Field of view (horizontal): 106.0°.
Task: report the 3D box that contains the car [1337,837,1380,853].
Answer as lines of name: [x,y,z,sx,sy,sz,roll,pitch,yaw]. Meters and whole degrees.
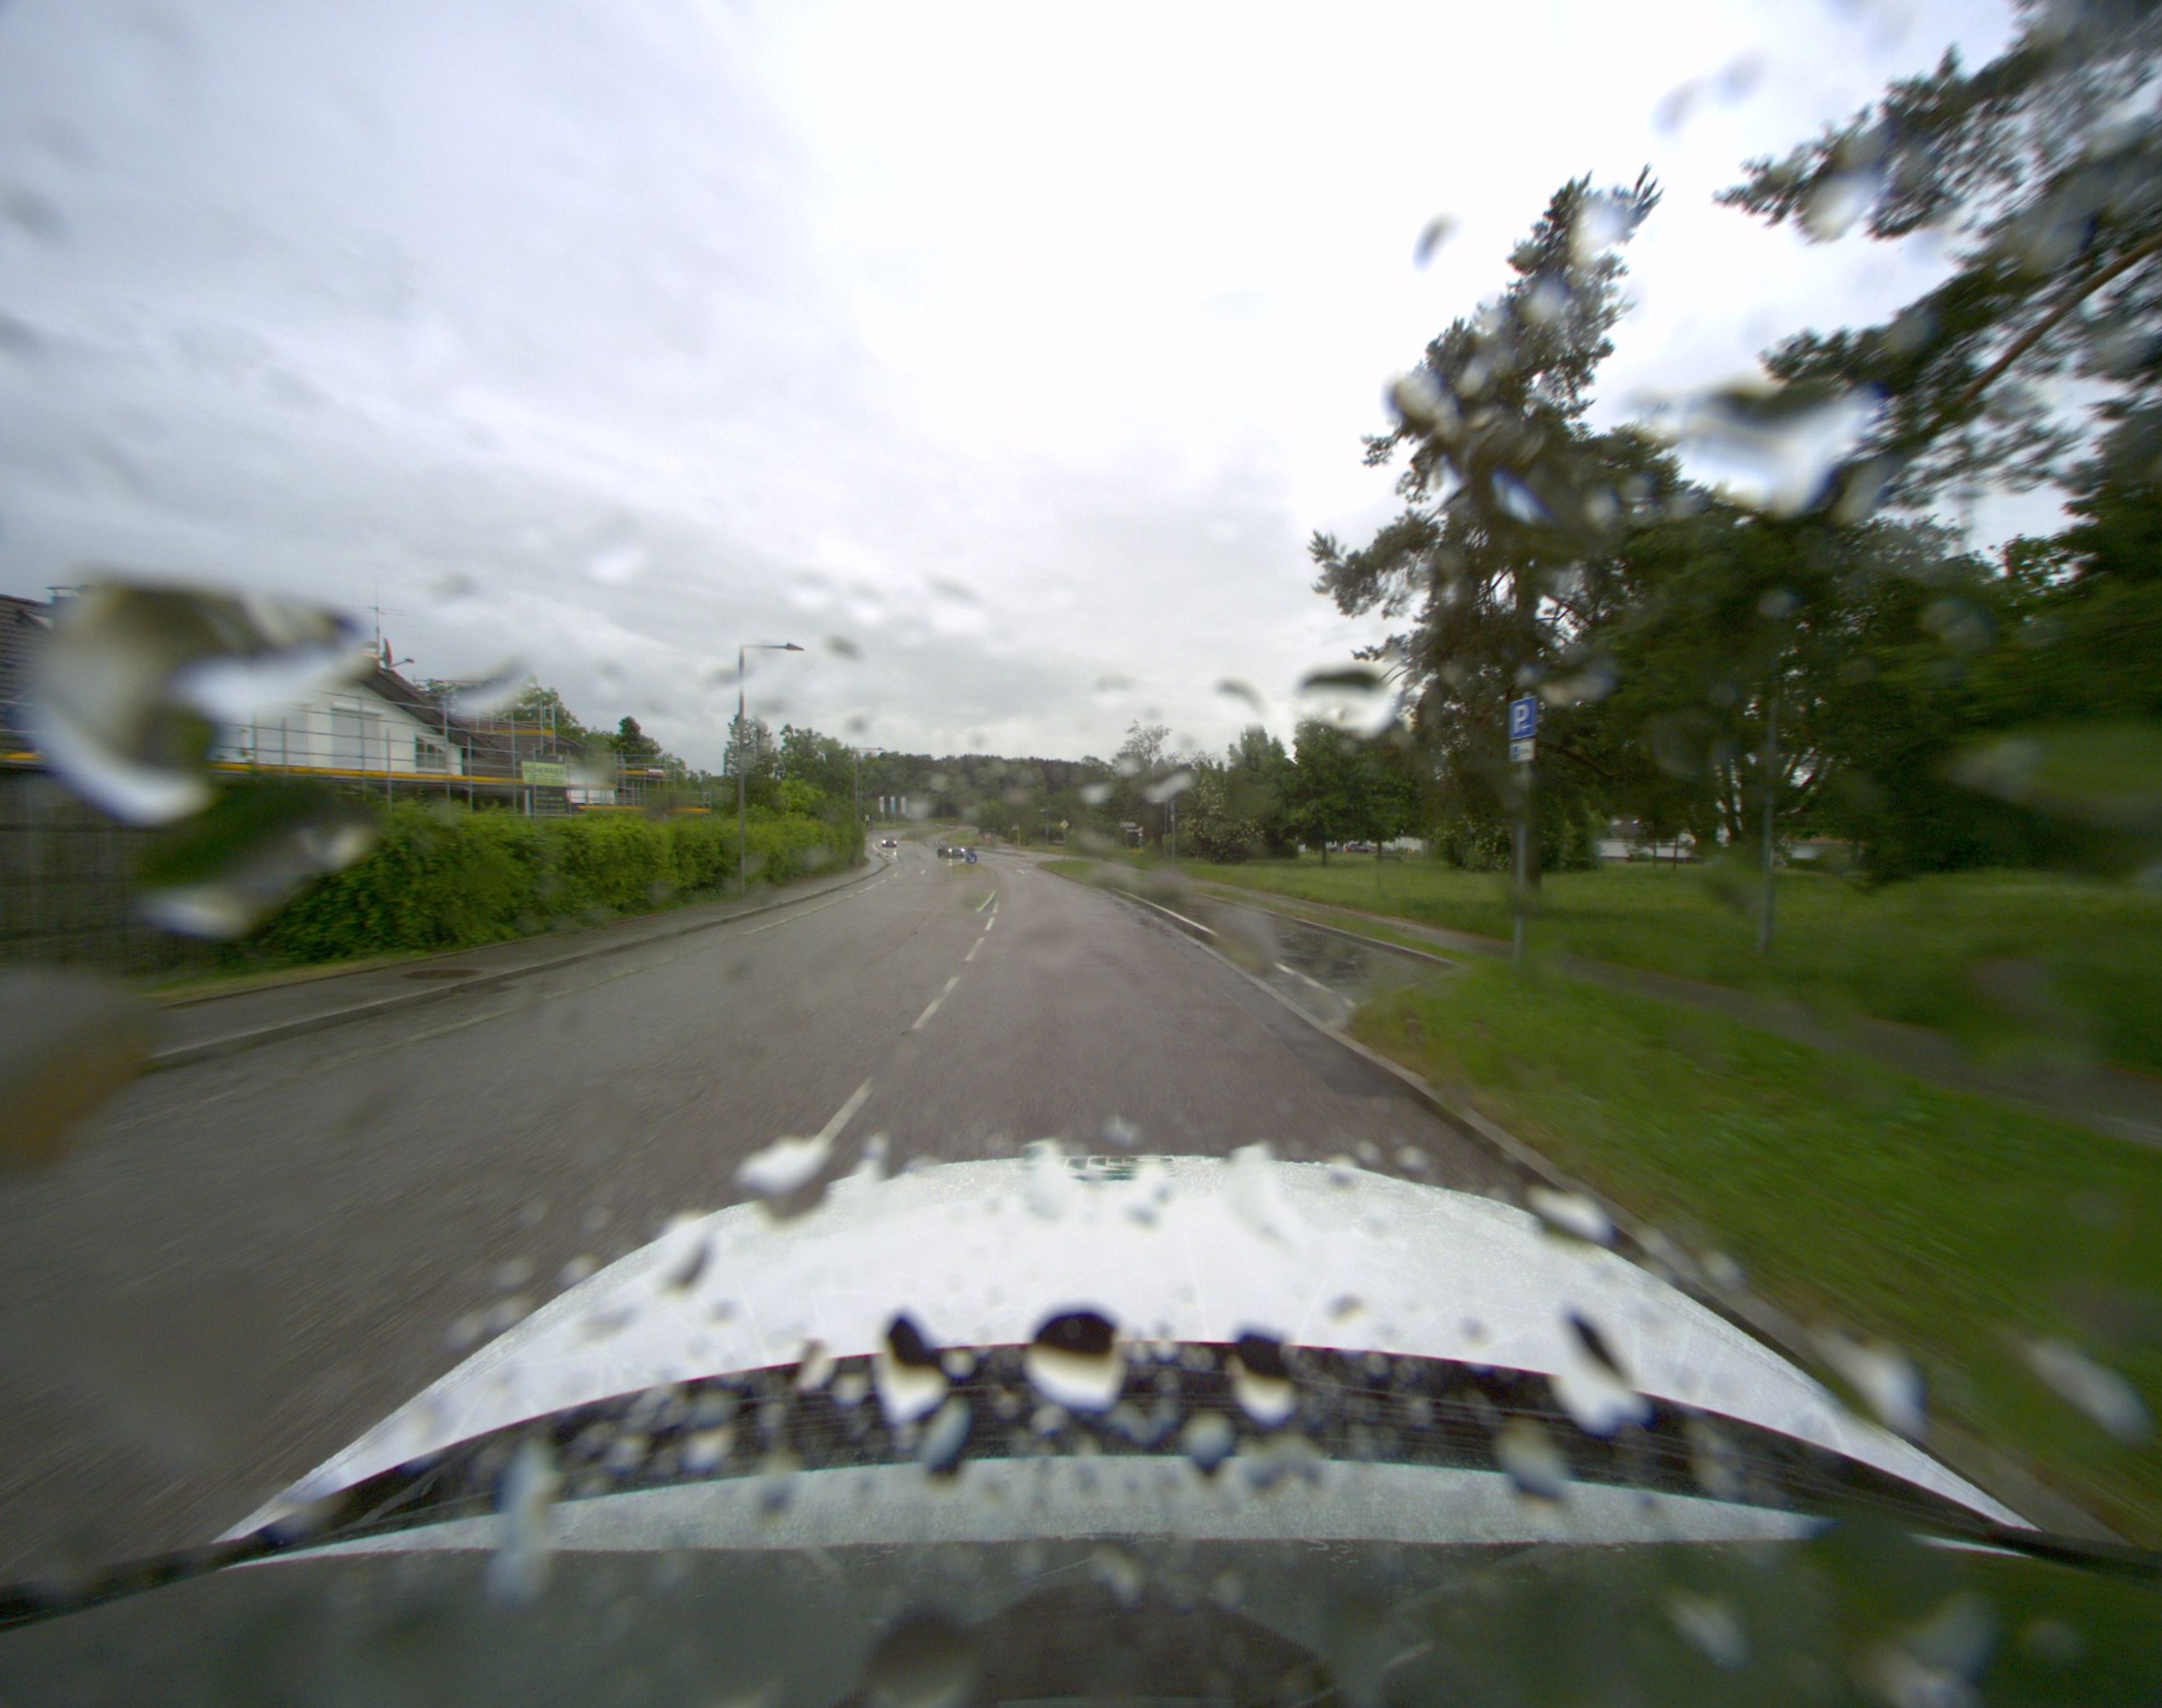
car: [33.869,-1.045,99.368,1.923,1.750,4.502,-2,-1,-43]

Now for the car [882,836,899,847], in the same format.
car: [-25.921,-1.680,110.794,1.972,1.414,4.392,-2,2,-16]

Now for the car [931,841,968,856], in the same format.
car: [-12.763,-0.548,78.987,3.489,1.355,1.469,3,1,38]

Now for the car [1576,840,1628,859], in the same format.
car: [44.344,-0.329,69.393,1.964,1.464,4.004,-3,0,4]
